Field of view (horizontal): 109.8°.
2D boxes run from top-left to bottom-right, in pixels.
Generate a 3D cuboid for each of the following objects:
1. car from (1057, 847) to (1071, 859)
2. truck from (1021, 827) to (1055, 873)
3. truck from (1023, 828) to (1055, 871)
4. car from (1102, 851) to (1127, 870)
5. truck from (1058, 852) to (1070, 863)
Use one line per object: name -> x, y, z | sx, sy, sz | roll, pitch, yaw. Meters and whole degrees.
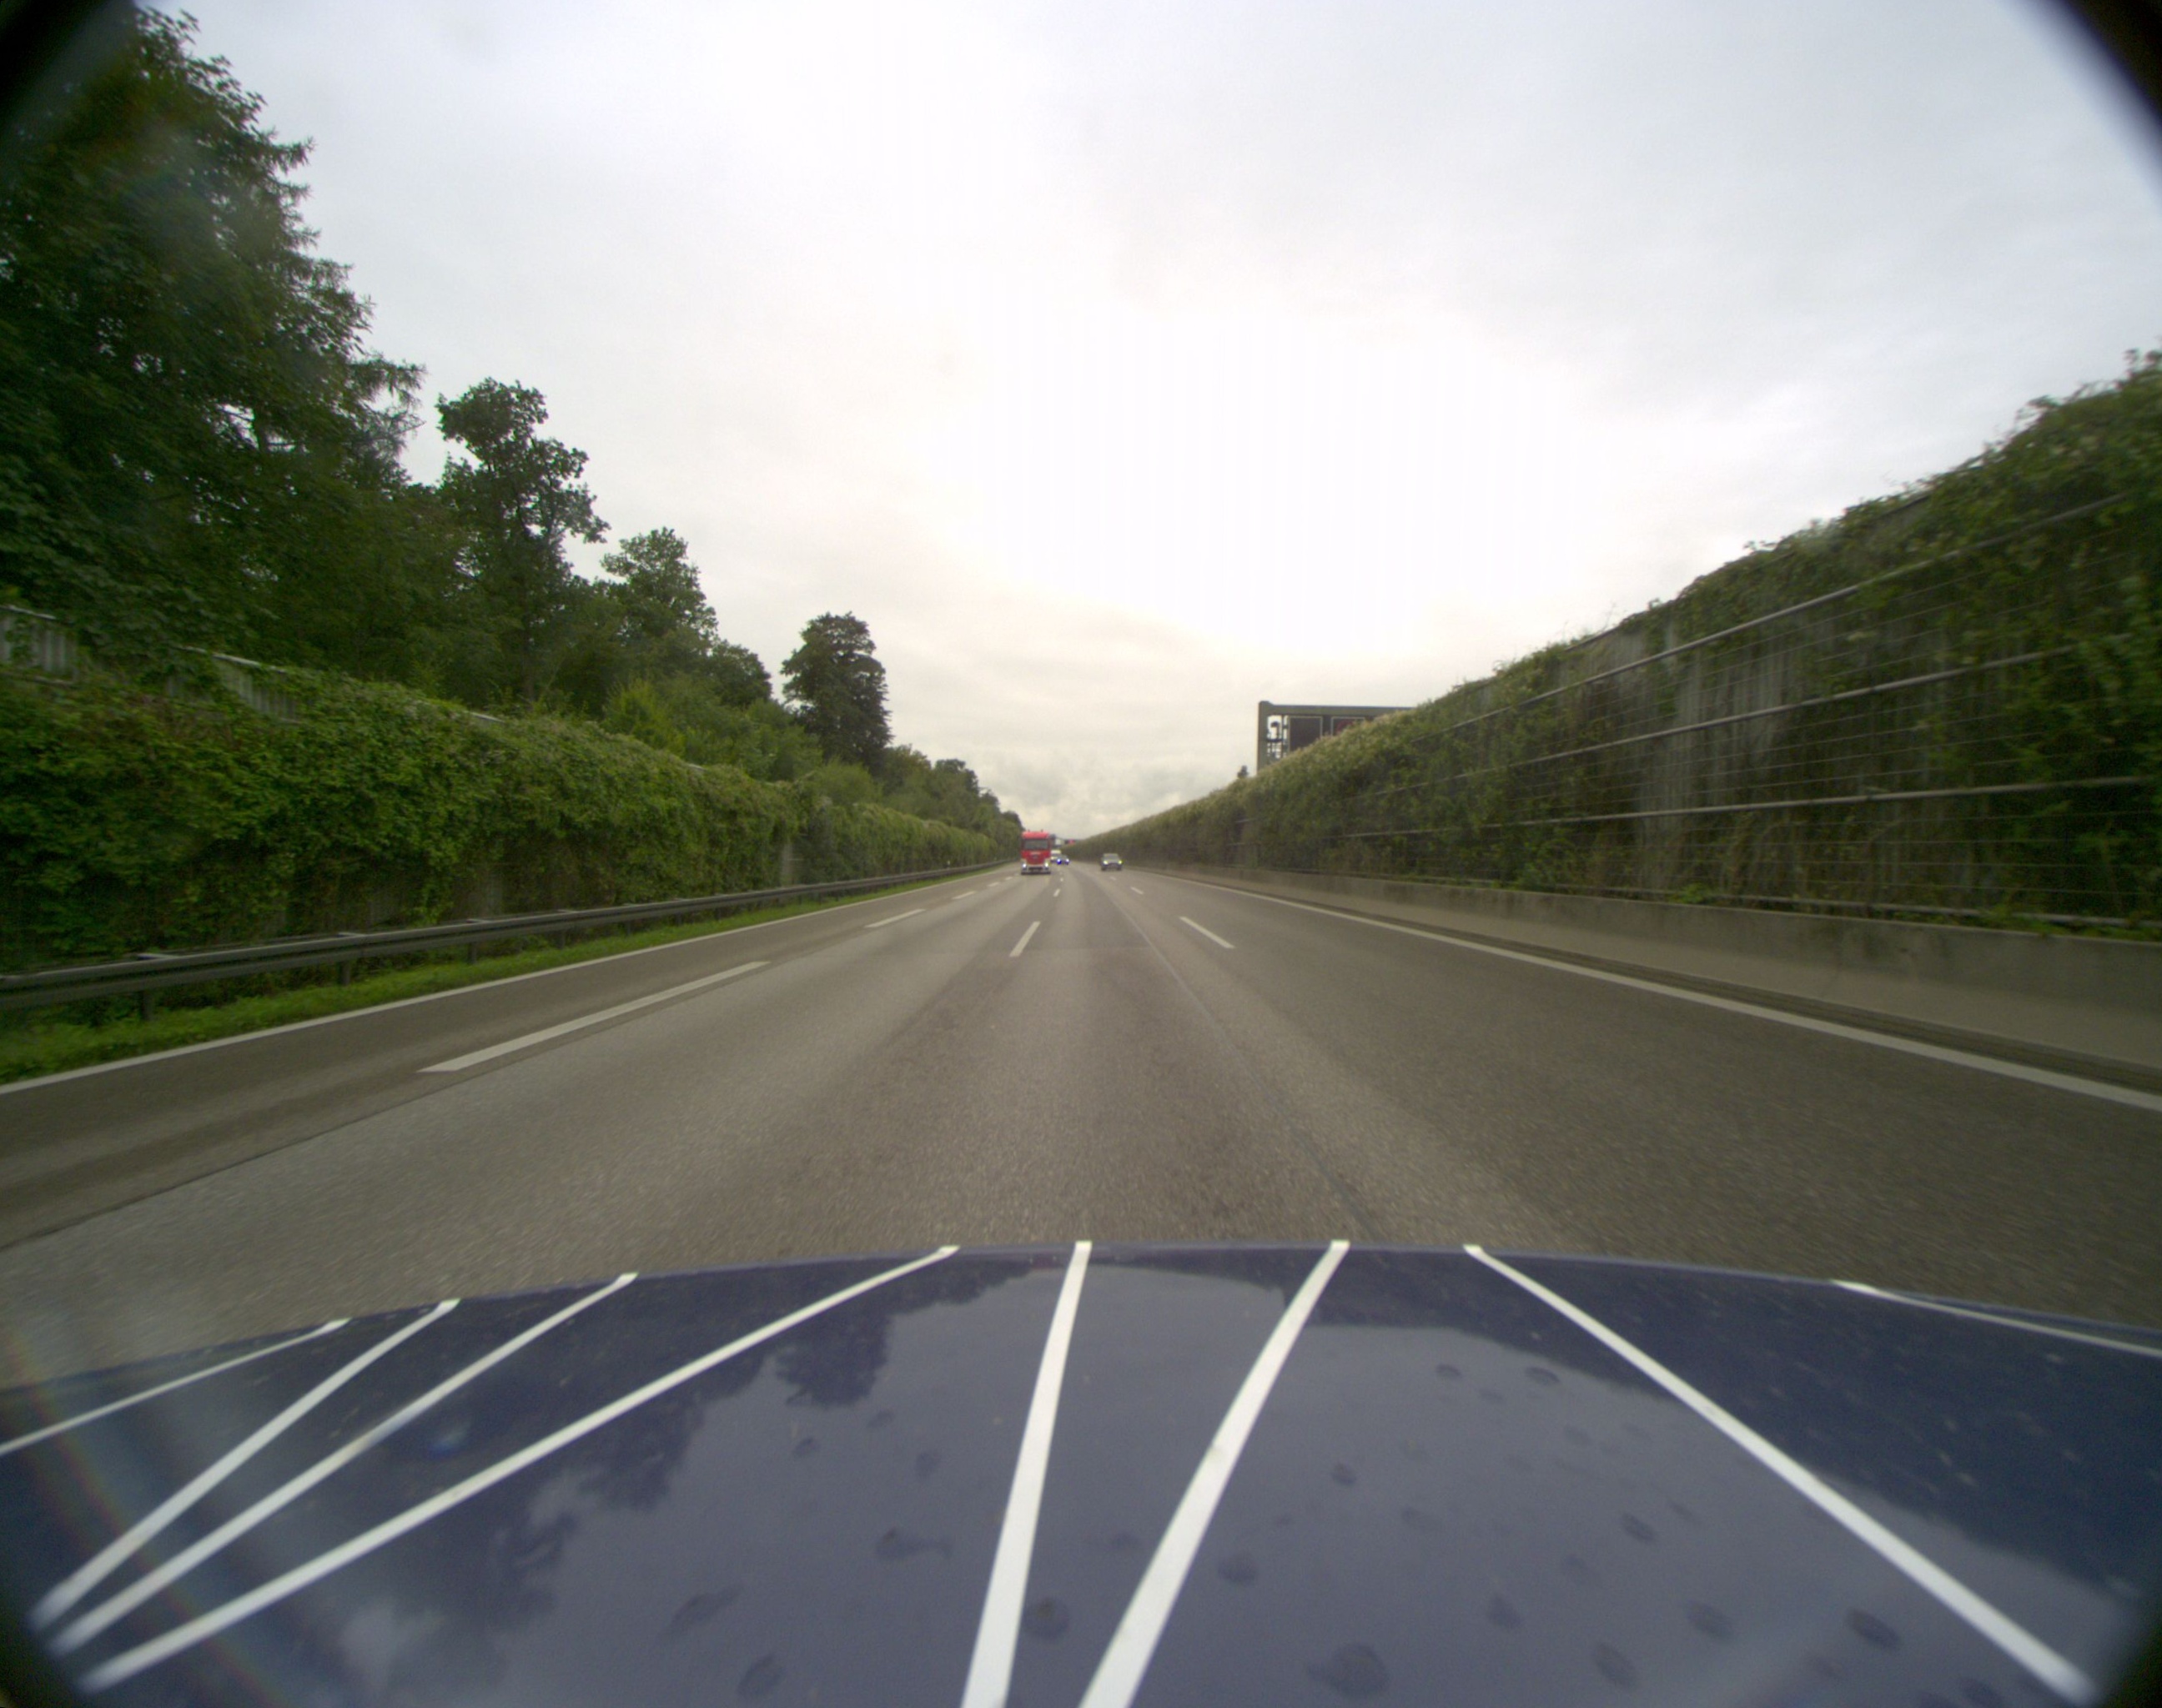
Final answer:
car -> -3.305, -0.274, 147.619 | 2.769, 2.227, 6.544 | -1, 1, -2
truck -> -3.710, -0.407, 65.994 | 2.709, 3.809, 4.197 | -1, 2, -1
truck -> -3.835, -0.508, 70.794 | 2.709, 3.691, 9.836 | -1, 2, -2
car -> 3.284, 0.608, 75.273 | 2.023, 1.595, 5.437 | -3, 1, -2
truck -> -2.791, 0.542, 123.203 | 1.825, 1.535, 3.998 | -1, 2, -2
